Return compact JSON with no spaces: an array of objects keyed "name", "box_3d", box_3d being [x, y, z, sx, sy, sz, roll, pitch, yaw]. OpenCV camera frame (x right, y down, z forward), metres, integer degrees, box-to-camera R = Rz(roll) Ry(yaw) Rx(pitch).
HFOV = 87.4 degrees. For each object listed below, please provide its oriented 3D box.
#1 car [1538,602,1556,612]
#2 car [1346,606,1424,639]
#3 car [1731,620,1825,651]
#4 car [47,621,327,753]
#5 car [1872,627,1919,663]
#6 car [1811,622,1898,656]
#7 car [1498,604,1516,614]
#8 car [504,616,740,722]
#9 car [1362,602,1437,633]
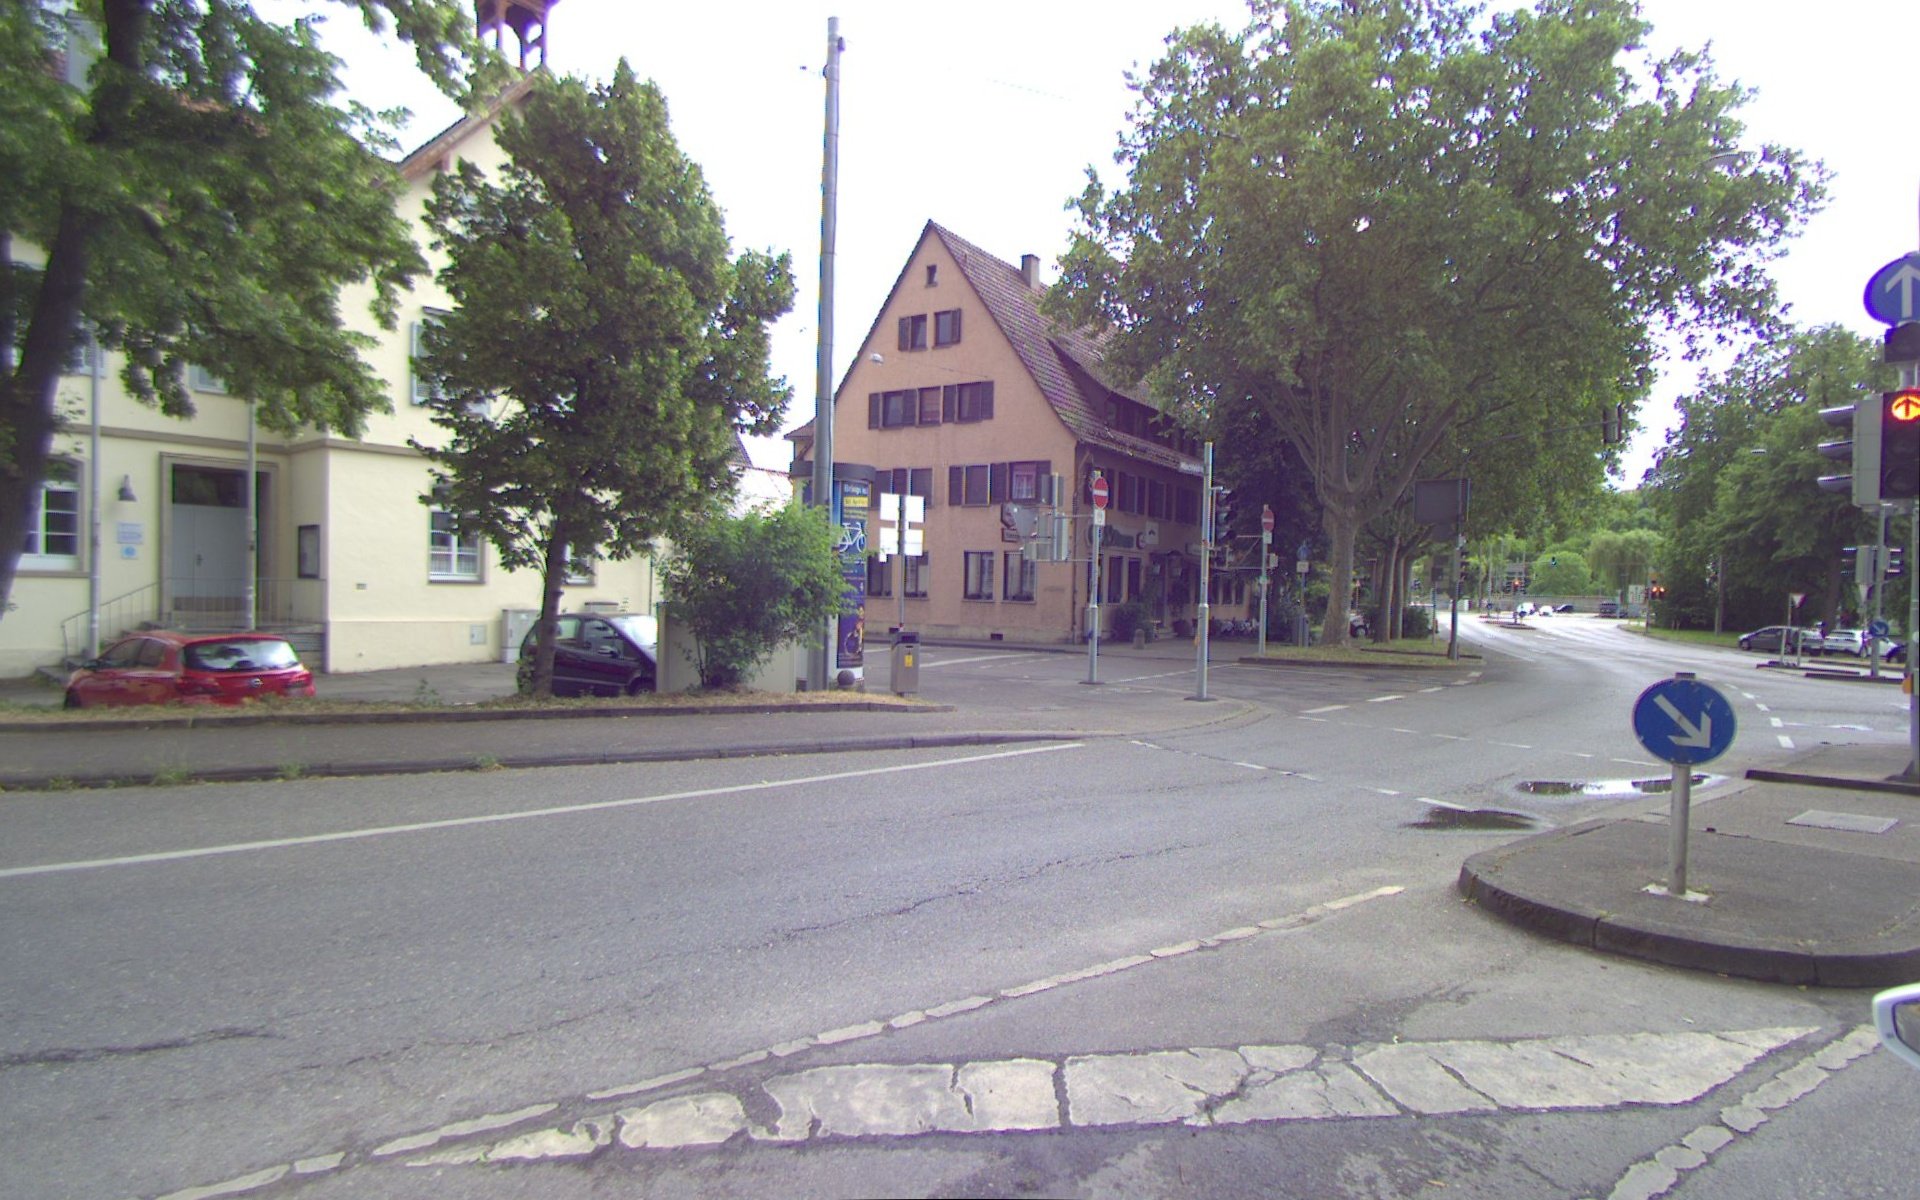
[{"name":"car","box_3d":[90.795,1.154,155.344,1.469,1.436,3.028,3,0,11]},{"name":"car","box_3d":[23.993,1.251,56.707,3.924,1.706,1.998,1,0,25]},{"name":"car","box_3d":[43.814,1.878,53.907,1.592,1.485,3.778,2,0,-11]},{"name":"car","box_3d":[-10.275,1.049,13.314,3.653,1.401,1.659,2,0,30]},{"name":"car","box_3d":[39.442,1.861,40.764,1.746,1.370,3.326,2,0,-2]},{"name":"car","box_3d":[47.457,2.039,53.326,3.696,1.662,1.859,2,0,-19]},{"name":"car","box_3d":[85.280,1.394,156.689,1.553,1.506,3.337,3,0,12]},{"name":"car","box_3d":[-5.536,1.053,16.441,3.507,1.459,1.644,2,0,26]},{"name":"car","box_3d":[25.725,1.007,58.783,3.924,1.706,1.998,1,0,25]}]
